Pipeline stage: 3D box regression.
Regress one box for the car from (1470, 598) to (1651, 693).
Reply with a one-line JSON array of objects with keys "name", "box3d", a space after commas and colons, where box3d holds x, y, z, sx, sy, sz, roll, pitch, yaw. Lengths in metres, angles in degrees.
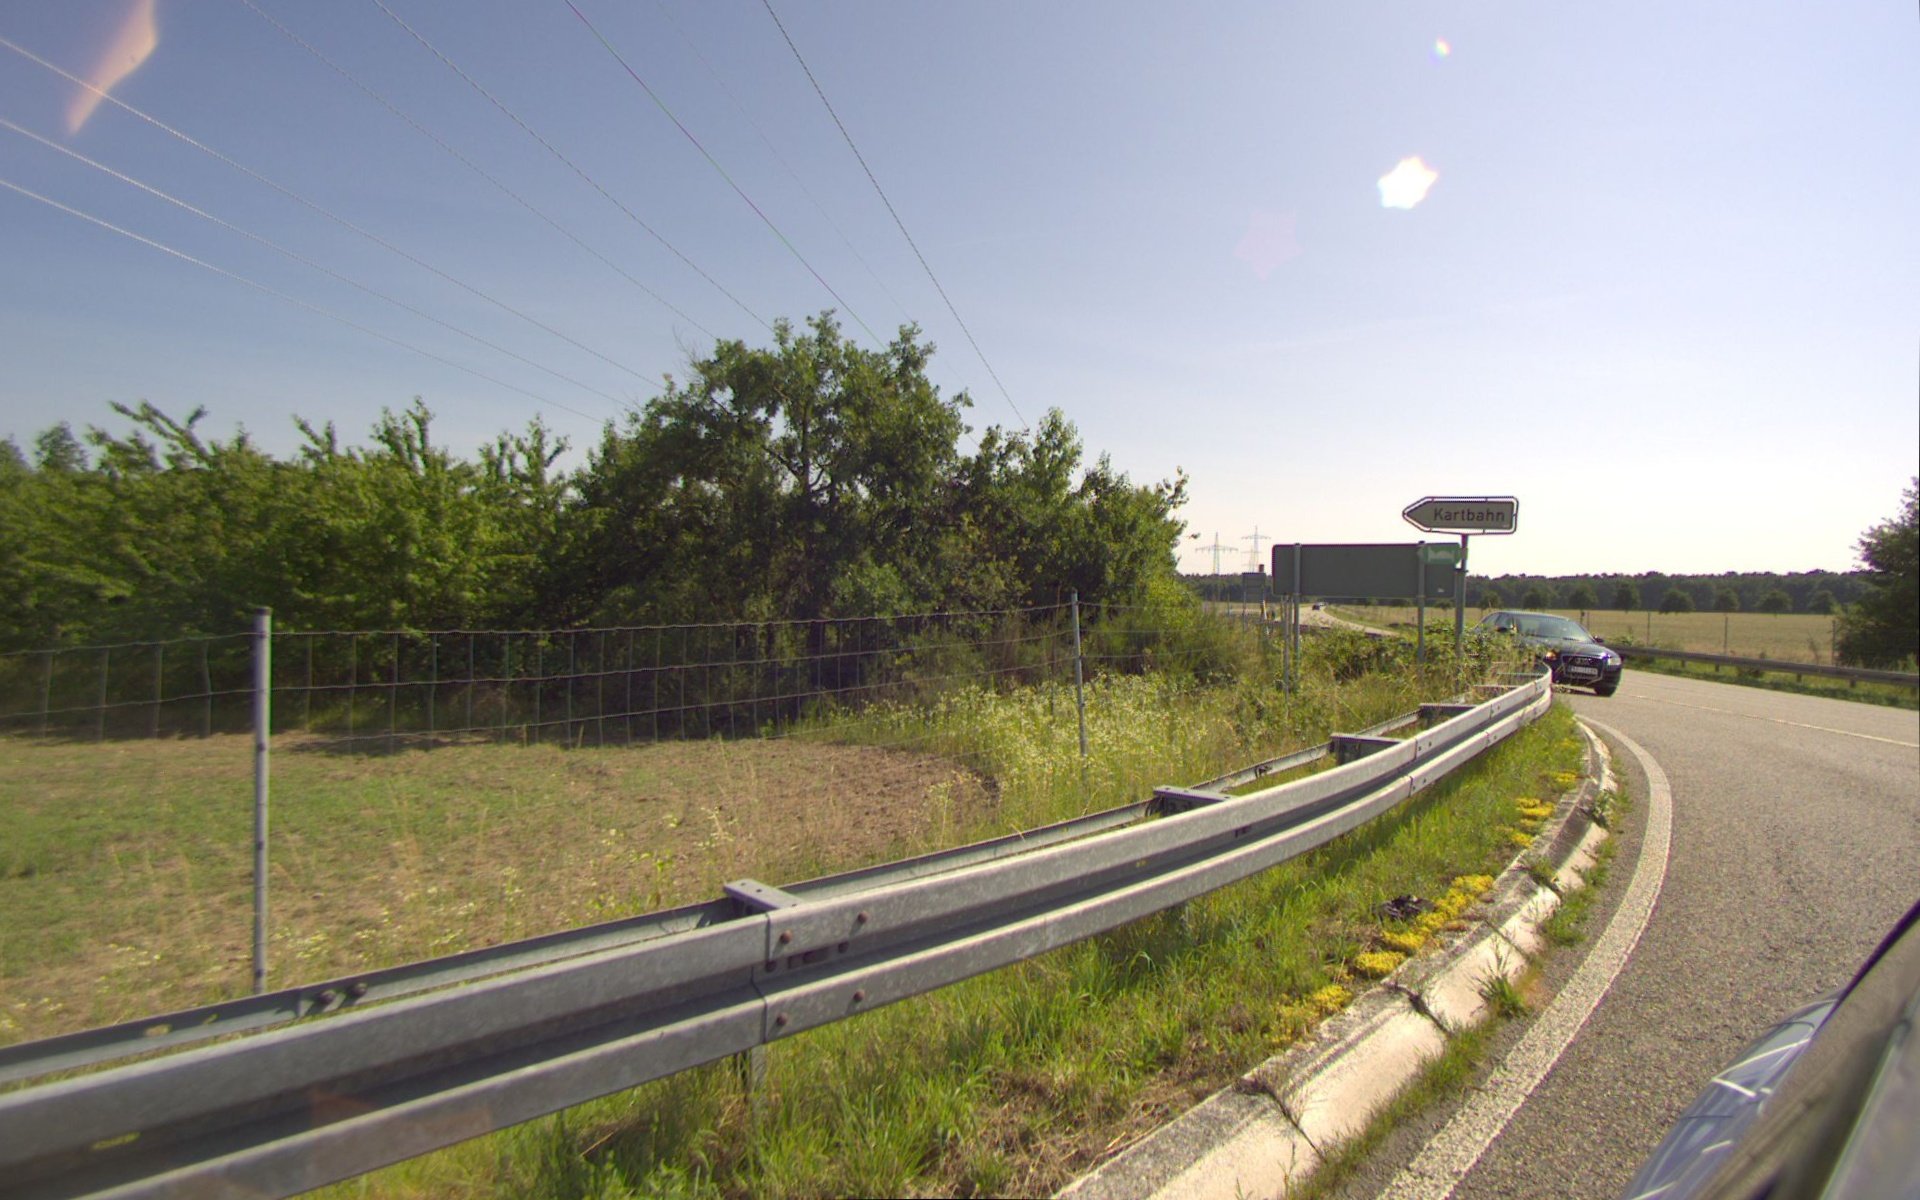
[{"name": "car", "box3d": [11.345, 0.782, 19.455, 1.861, 1.474, 4.056, 4, 1, 15]}]
